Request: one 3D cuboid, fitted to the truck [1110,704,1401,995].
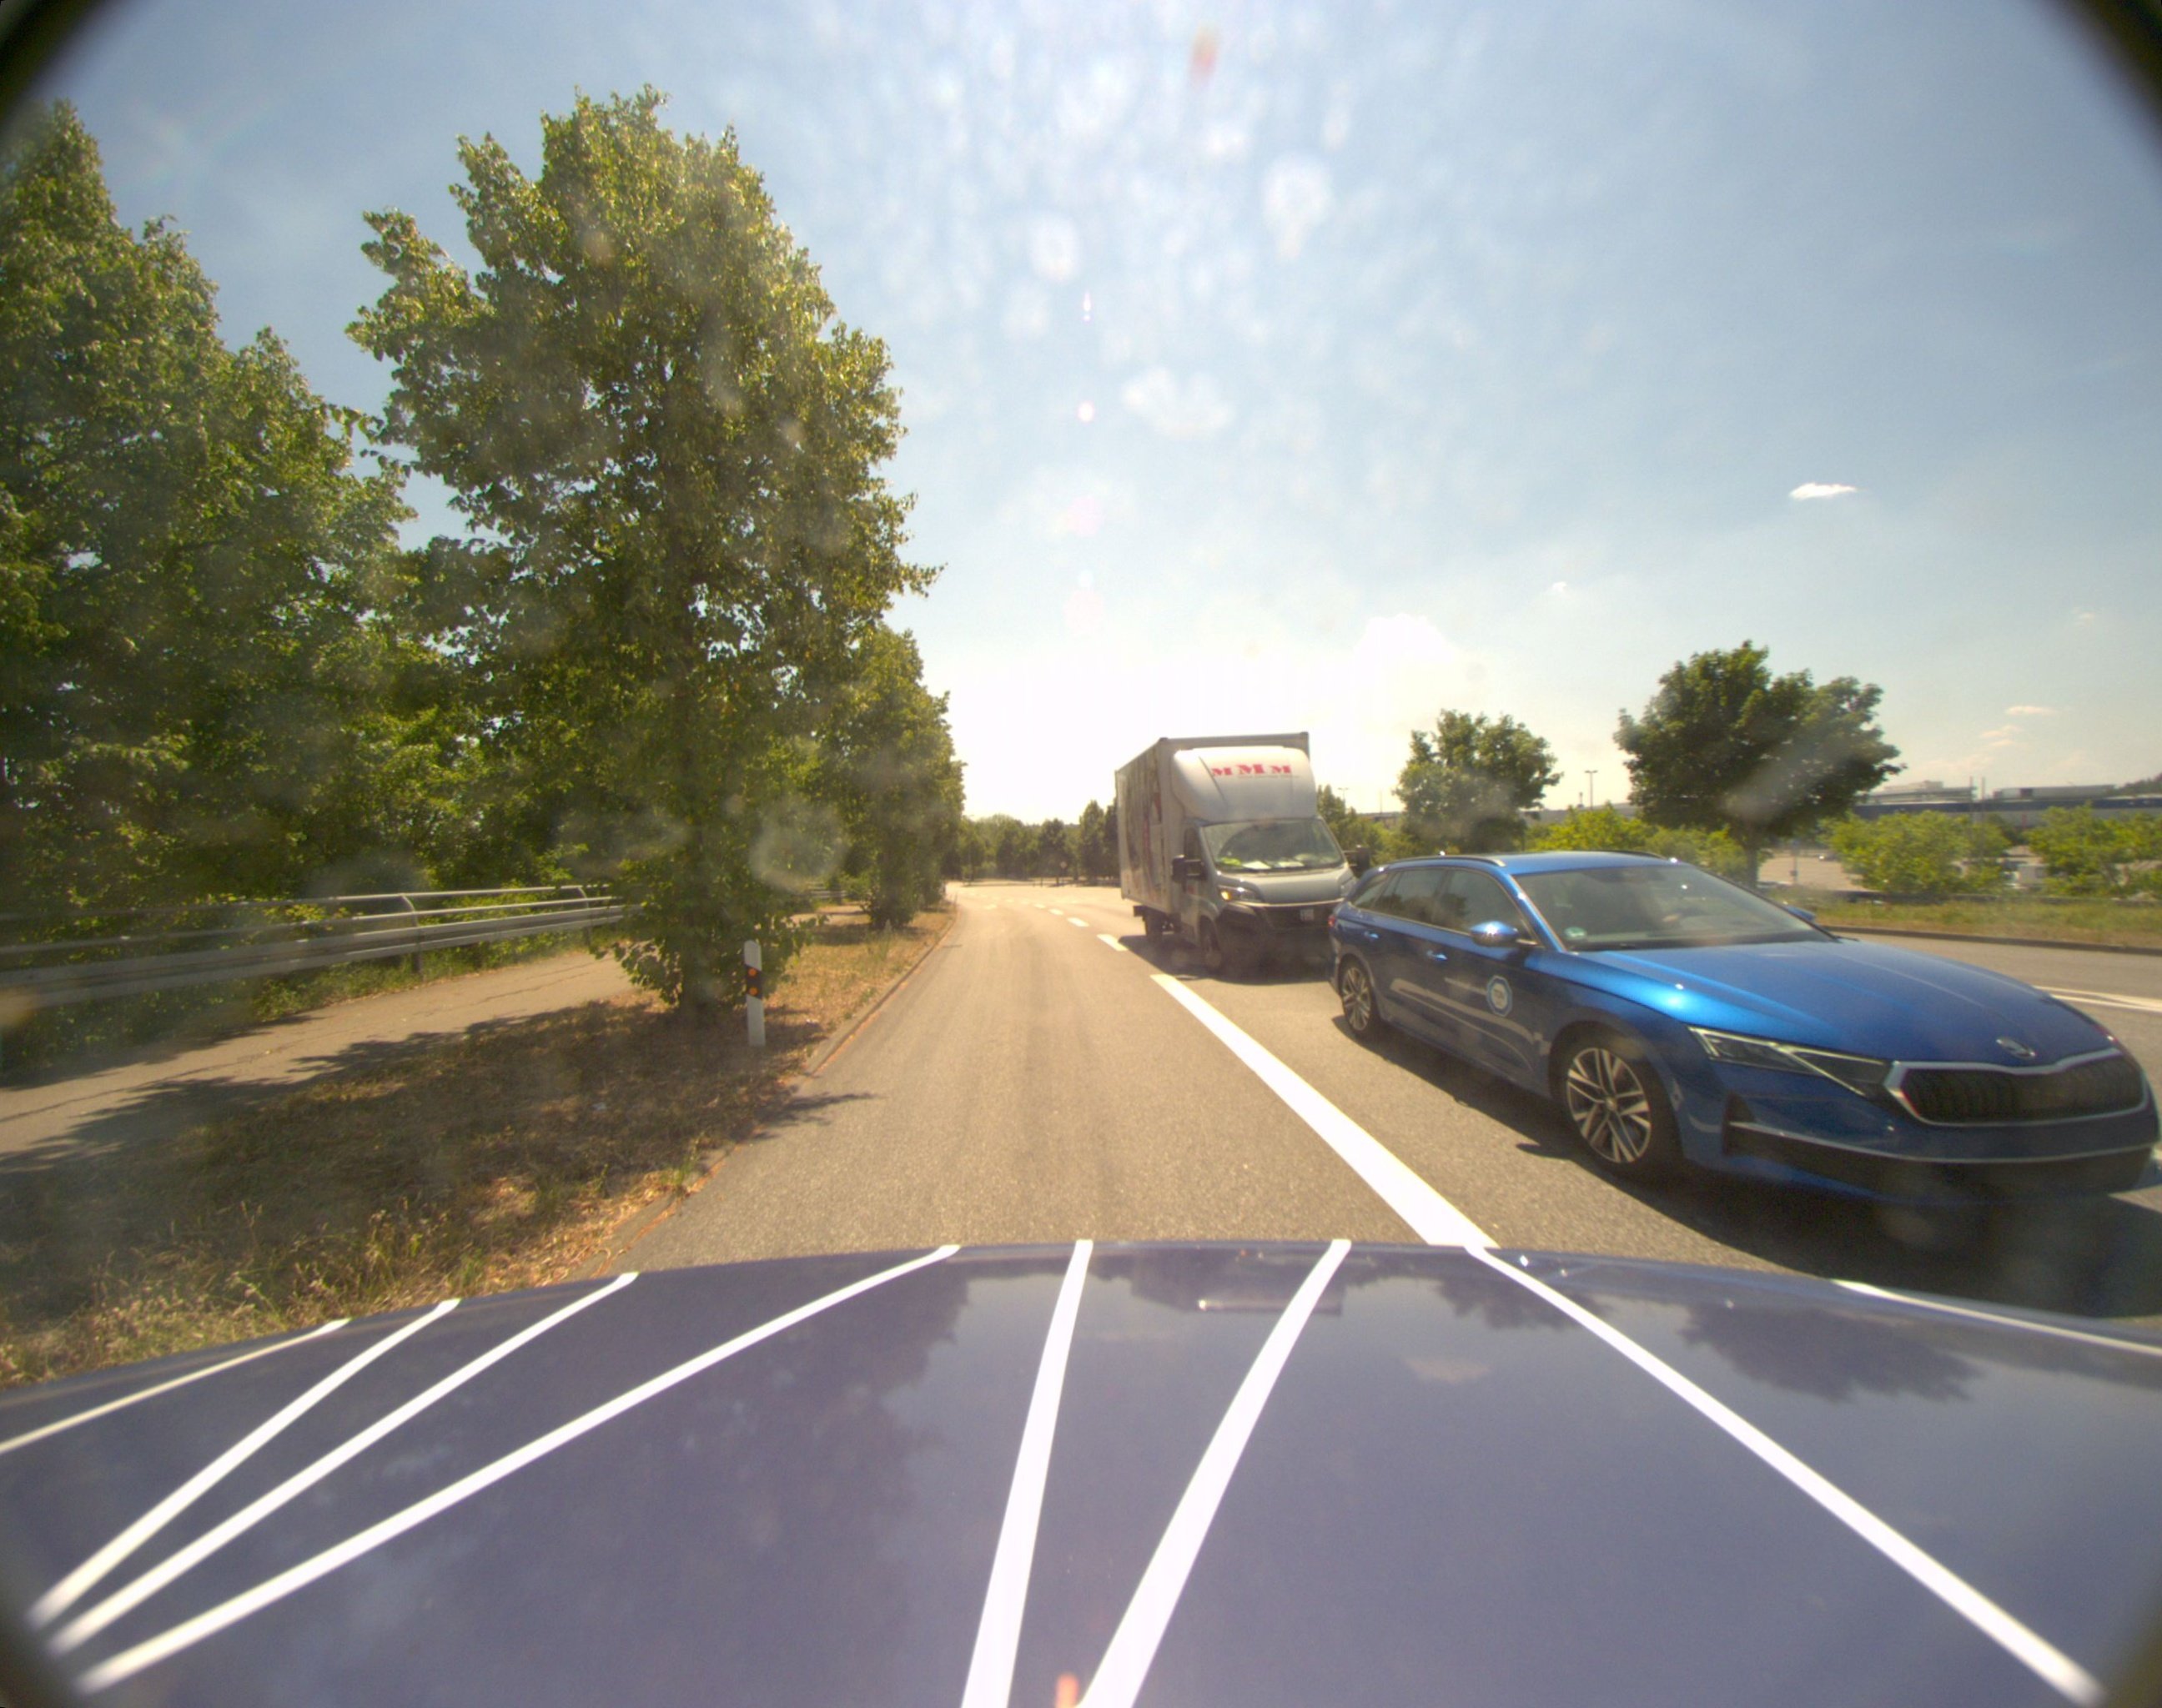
[{"bbox_3d":[2.204,-0.022,12.484,2.415,3.327,7.200,-2,-1,-5],"label":"truck"}]

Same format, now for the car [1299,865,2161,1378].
[{"bbox_3d":[3.011,0.844,4.611,1.713,1.454,4.487,-2,0,-5],"label":"car"}]
